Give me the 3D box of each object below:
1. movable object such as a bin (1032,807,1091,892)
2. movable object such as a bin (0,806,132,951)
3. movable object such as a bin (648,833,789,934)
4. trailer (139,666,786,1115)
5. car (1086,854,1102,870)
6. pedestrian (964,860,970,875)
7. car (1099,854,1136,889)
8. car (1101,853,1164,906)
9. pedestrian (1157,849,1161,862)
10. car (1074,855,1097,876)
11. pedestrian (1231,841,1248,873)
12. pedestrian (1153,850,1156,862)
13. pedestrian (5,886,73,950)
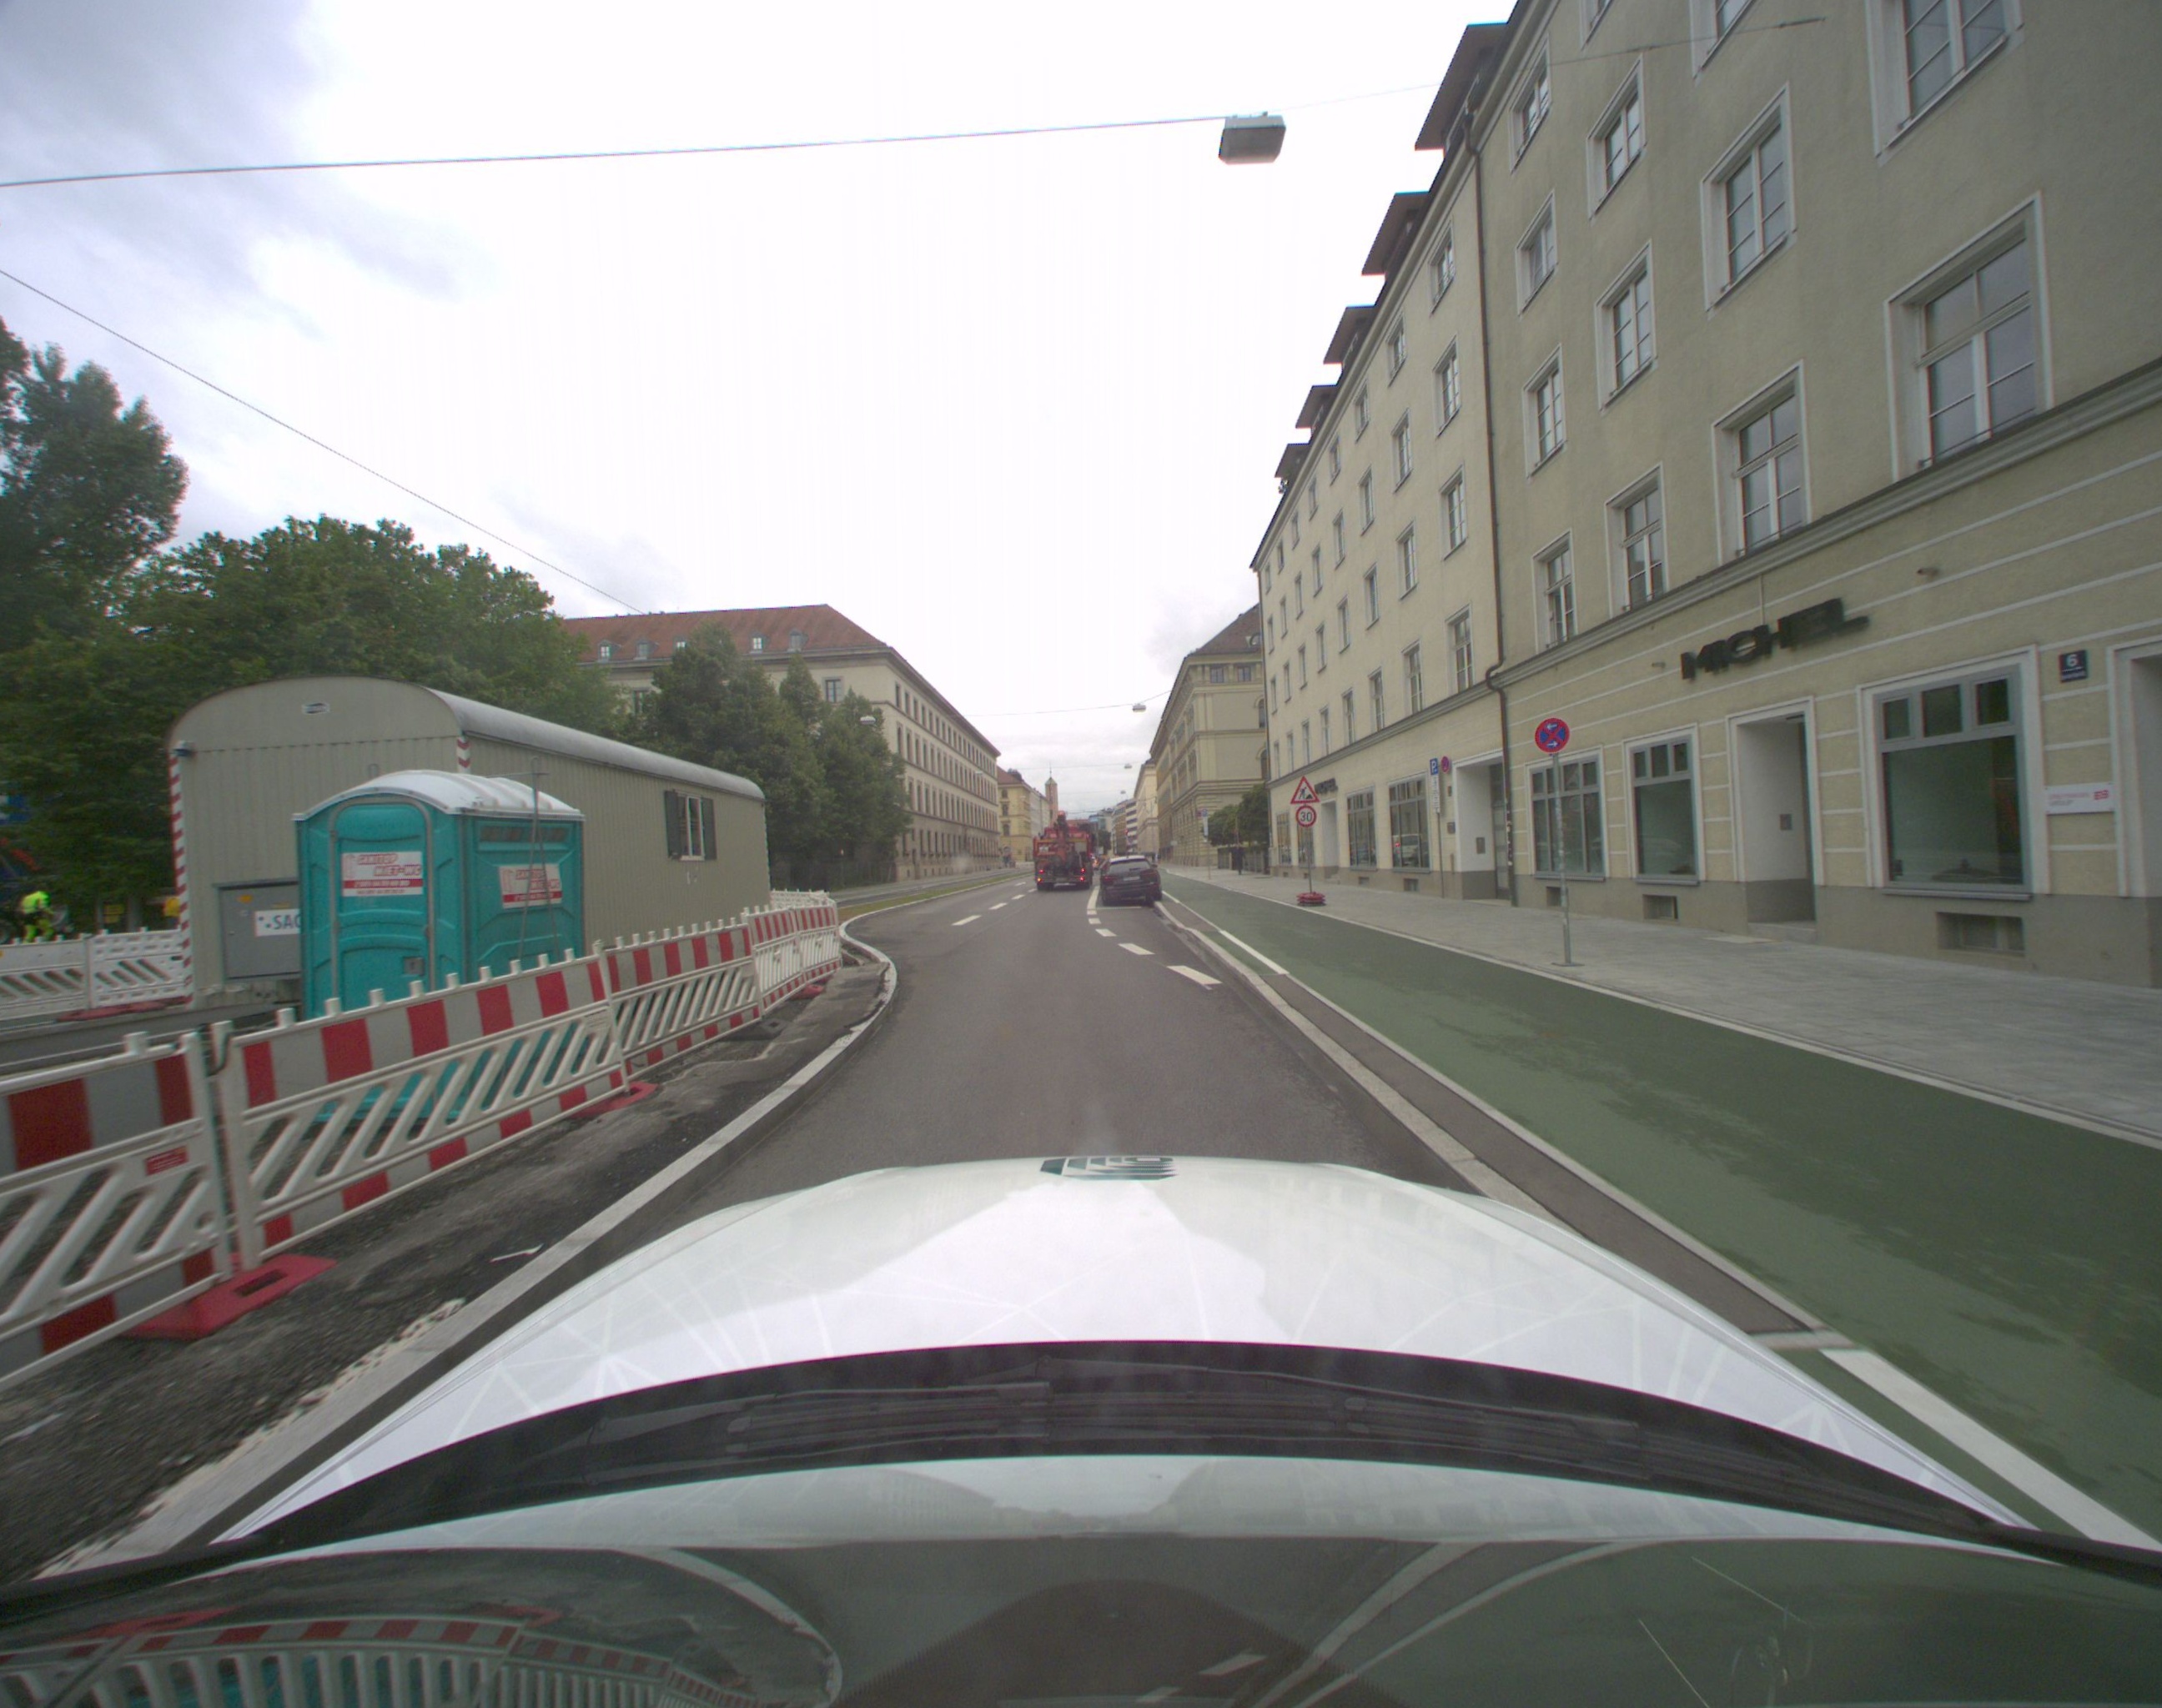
[{"bbox_3d":[-0.818,-0.196,38.719,2.415,3.611,5.852,-2,0,1],"label":"movable object such as a bin"},{"bbox_3d":[-28.005,0.642,20.490,1.986,3.629,5.182,-2,0,1],"label":"movable object such as a bin"},{"bbox_3d":[-10.669,0.799,24.432,1.987,2.641,4.666,-3,0,0],"label":"movable object such as a bin"},{"bbox_3d":[-5.955,0.263,9.833,2.222,3.243,7.511,-3,0,-3],"label":"trailer"},{"bbox_3d":[1.378,0.812,85.590,1.604,1.495,3.426,-3,0,2],"label":"car"},{"bbox_3d":[-14.382,1.692,102.811,0.587,1.831,0.499,-2,0,0],"label":"pedestrian"},{"bbox_3d":[1.691,0.785,38.603,1.604,1.495,3.426,-3,0,2],"label":"car"},{"bbox_3d":[1.591,0.763,26.618,1.795,1.480,4.687,-3,0,1],"label":"car"},{"bbox_3d":[11.471,0.185,119.760,0.444,1.836,0.556,-3,0,3],"label":"pedestrian"},{"bbox_3d":[0.359,0.852,62.843,1.604,1.495,3.426,-3,0,2],"label":"car"},{"bbox_3d":[9.390,0.177,48.177,0.787,1.836,0.778,-3,0,3],"label":"pedestrian"},{"bbox_3d":[10.765,0.303,119.814,0.336,1.672,0.440,-3,0,3],"label":"pedestrian"},{"bbox_3d":[-26.487,1.622,20.711,0.678,1.535,0.787,-2,0,1],"label":"pedestrian"}]
